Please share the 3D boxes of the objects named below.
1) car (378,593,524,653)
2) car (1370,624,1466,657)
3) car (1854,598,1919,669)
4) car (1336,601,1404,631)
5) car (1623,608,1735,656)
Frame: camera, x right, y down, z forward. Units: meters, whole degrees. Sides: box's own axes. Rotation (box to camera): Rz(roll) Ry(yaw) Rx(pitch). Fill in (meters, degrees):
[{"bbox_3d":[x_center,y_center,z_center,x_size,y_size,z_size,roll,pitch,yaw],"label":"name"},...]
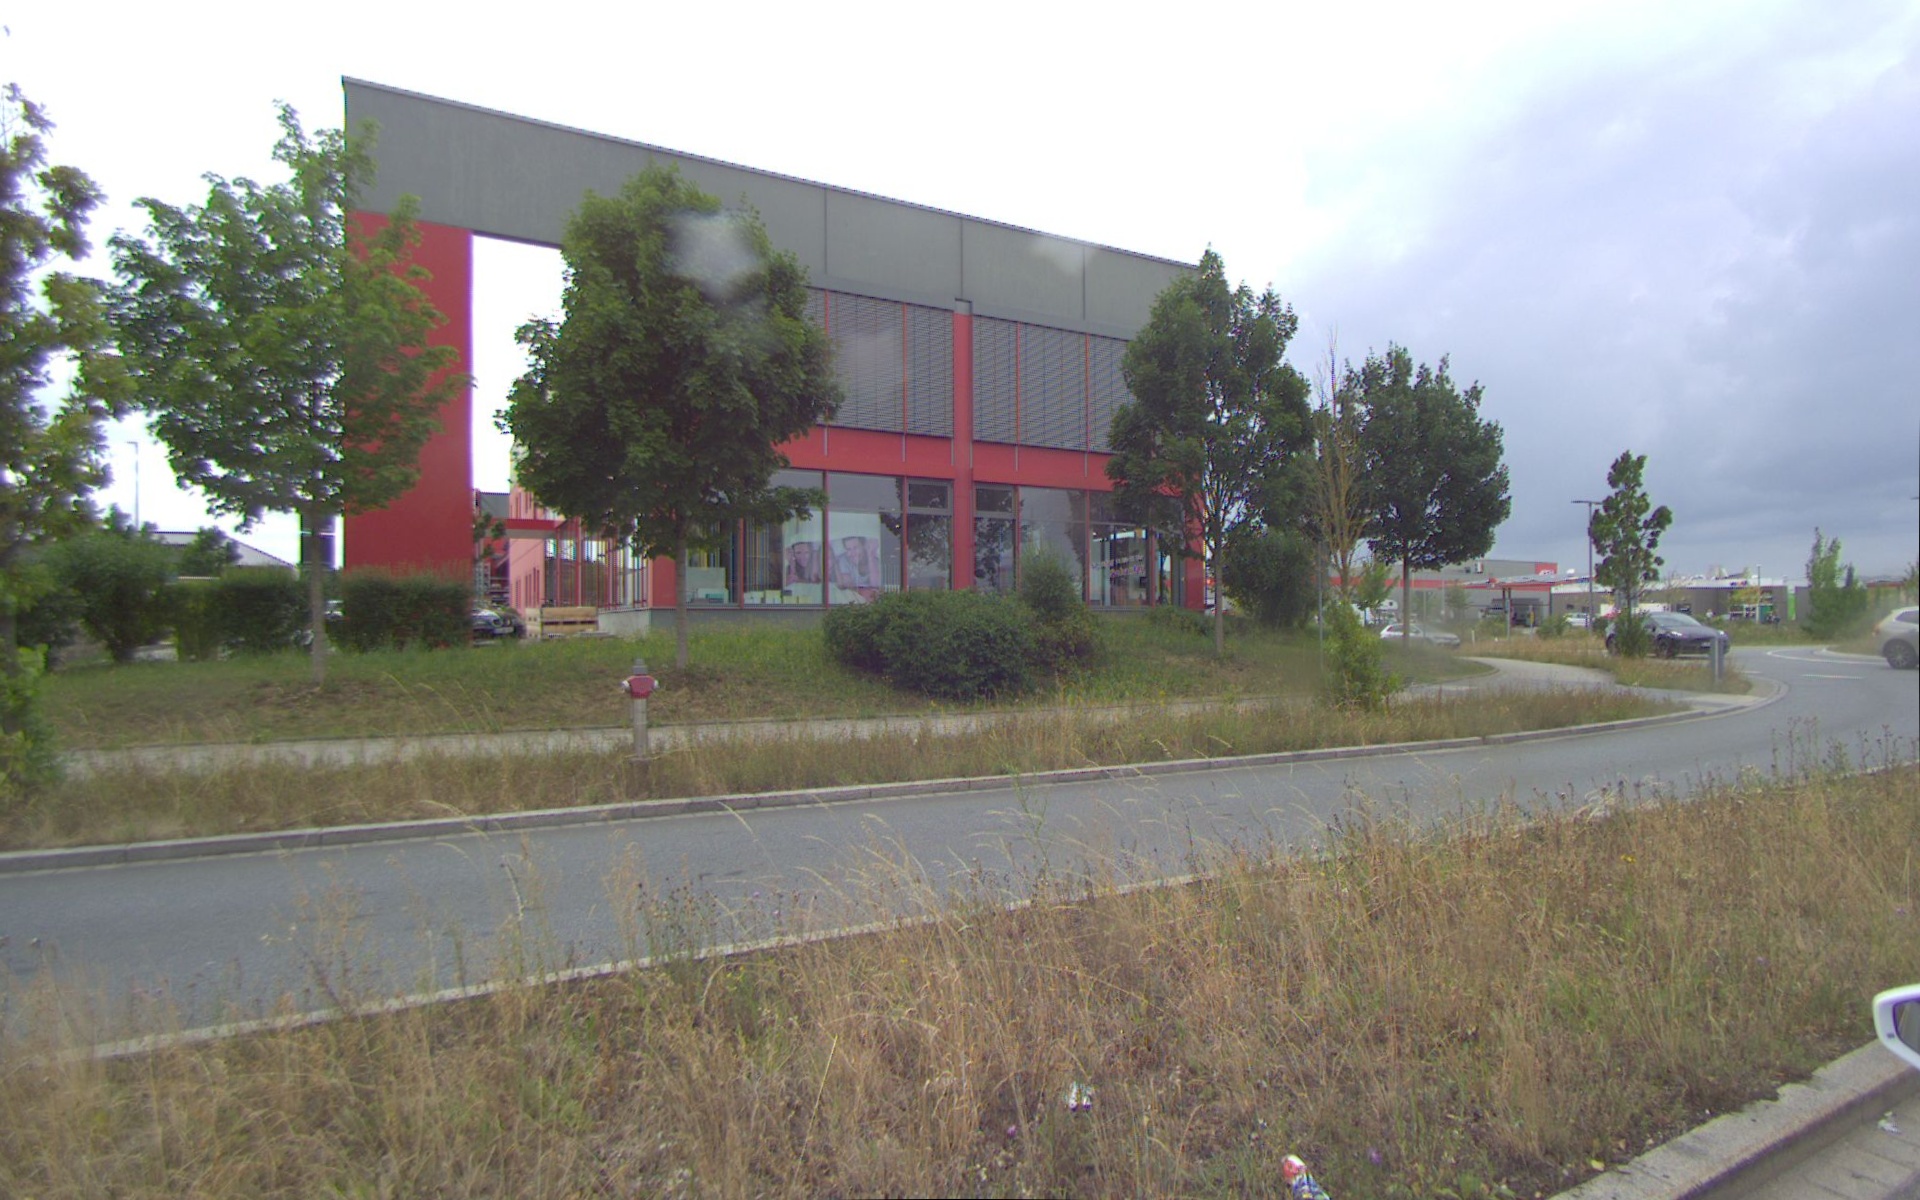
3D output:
[{"bbox_3d":[-11.454,0.524,22.675,2.826,1.287,1.253,2,0,-29],"label":"car"},{"bbox_3d":[22.497,2.004,49.480,1.794,1.483,3.965,0,-2,-33],"label":"car"},{"bbox_3d":[25.358,0.818,24.911,1.907,1.761,4.773,-2,-1,-3],"label":"car"},{"bbox_3d":[42.047,1.692,102.889,7.604,2.857,2.449,2,0,-32],"label":"car"},{"bbox_3d":[25.422,1.083,35.725,1.906,1.518,4.774,-2,-1,19],"label":"car"}]
